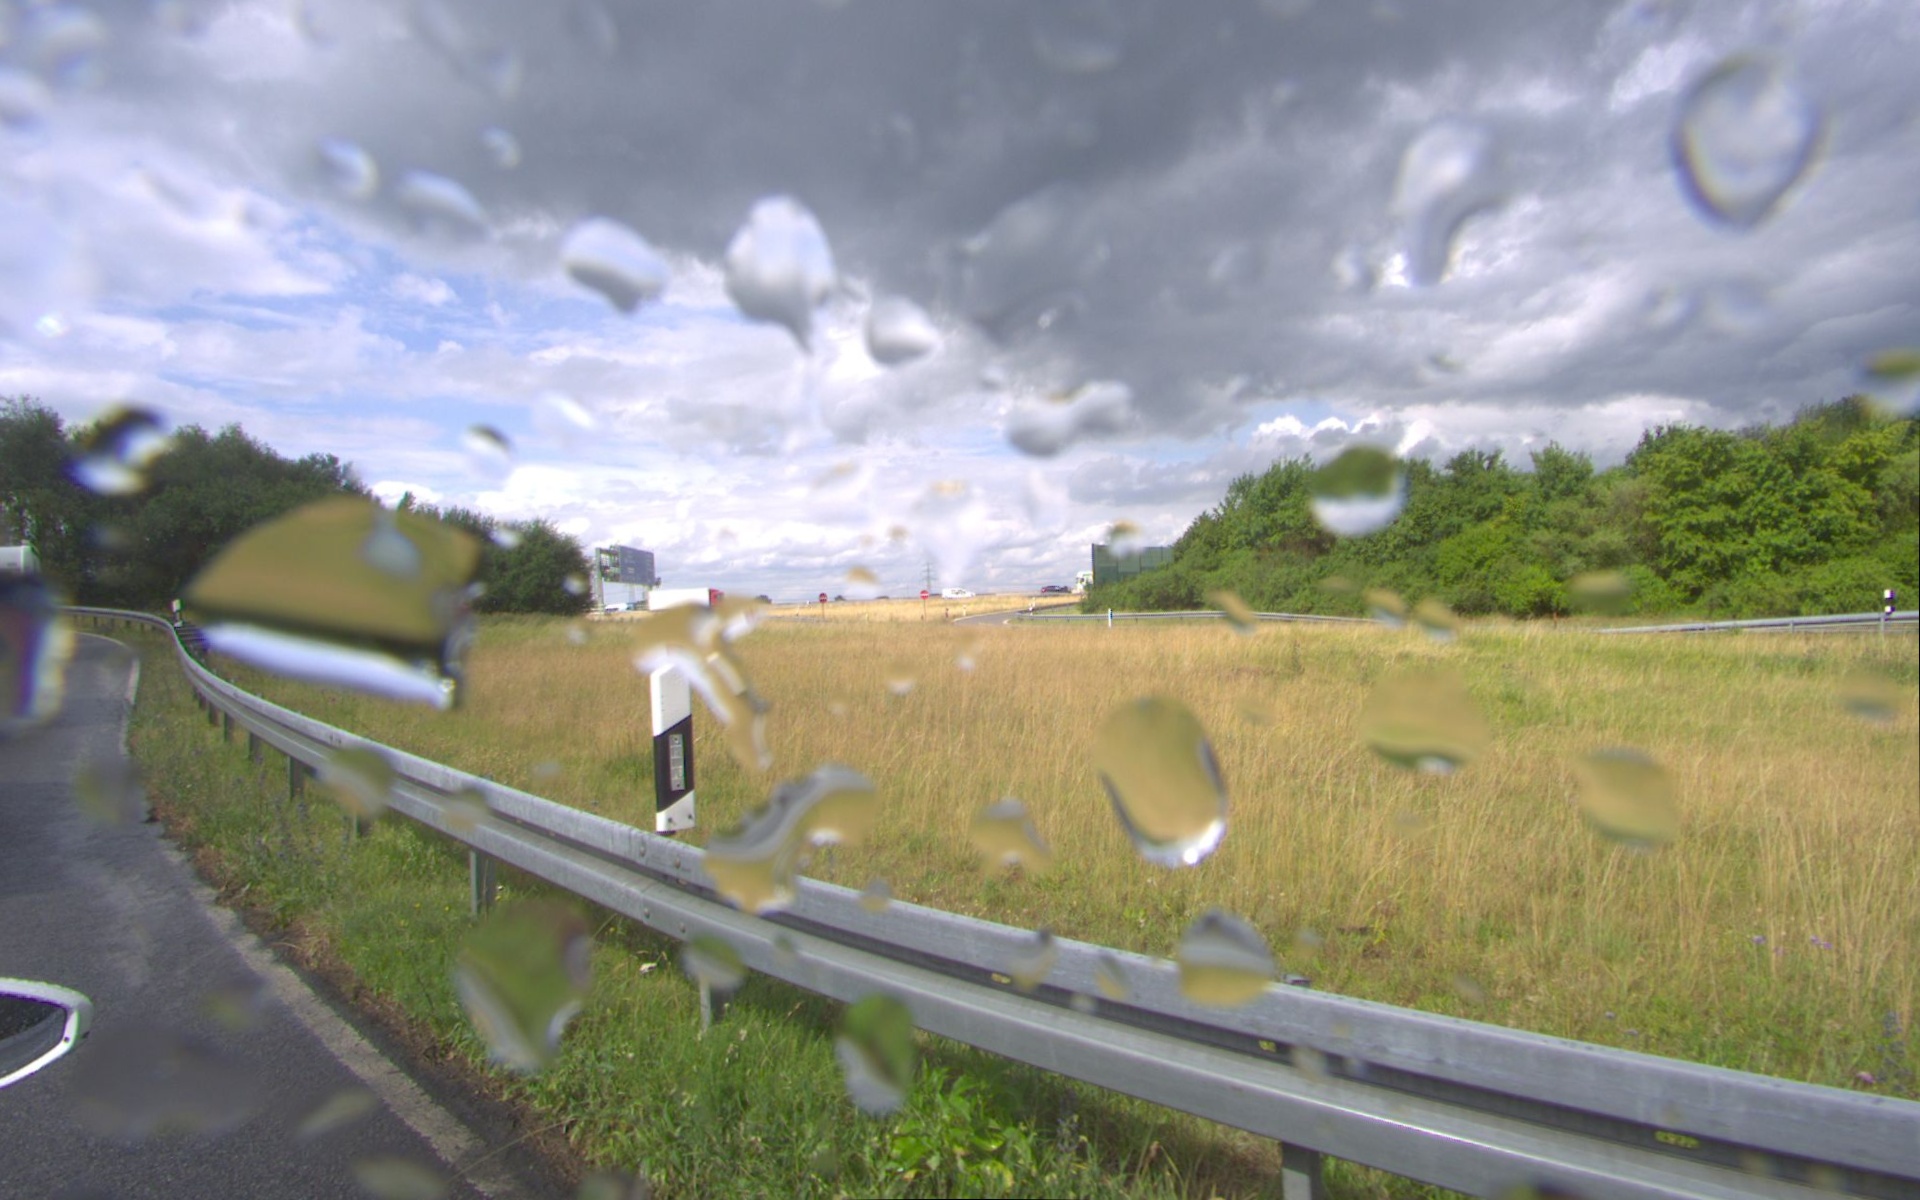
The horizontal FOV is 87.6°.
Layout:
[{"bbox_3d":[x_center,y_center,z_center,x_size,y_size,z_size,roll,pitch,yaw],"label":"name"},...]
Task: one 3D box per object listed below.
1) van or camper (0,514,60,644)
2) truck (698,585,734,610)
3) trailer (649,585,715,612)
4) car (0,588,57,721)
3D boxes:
[{"bbox_3d":[-22.718,-0.356,23.247,2.411,2.764,5.954,0,-2,-39],"label":"van or camper"},{"bbox_3d":[-33.349,-0.320,137.060,4.210,3.175,3.202,-3,-1,-4],"label":"truck"},{"bbox_3d":[-37.906,-0.167,136.759,8.044,3.251,3.192,-3,-1,-4],"label":"trailer"},{"bbox_3d":[-12.850,0.651,12.759,1.703,1.545,3.968,-1,0,-38],"label":"car"}]
